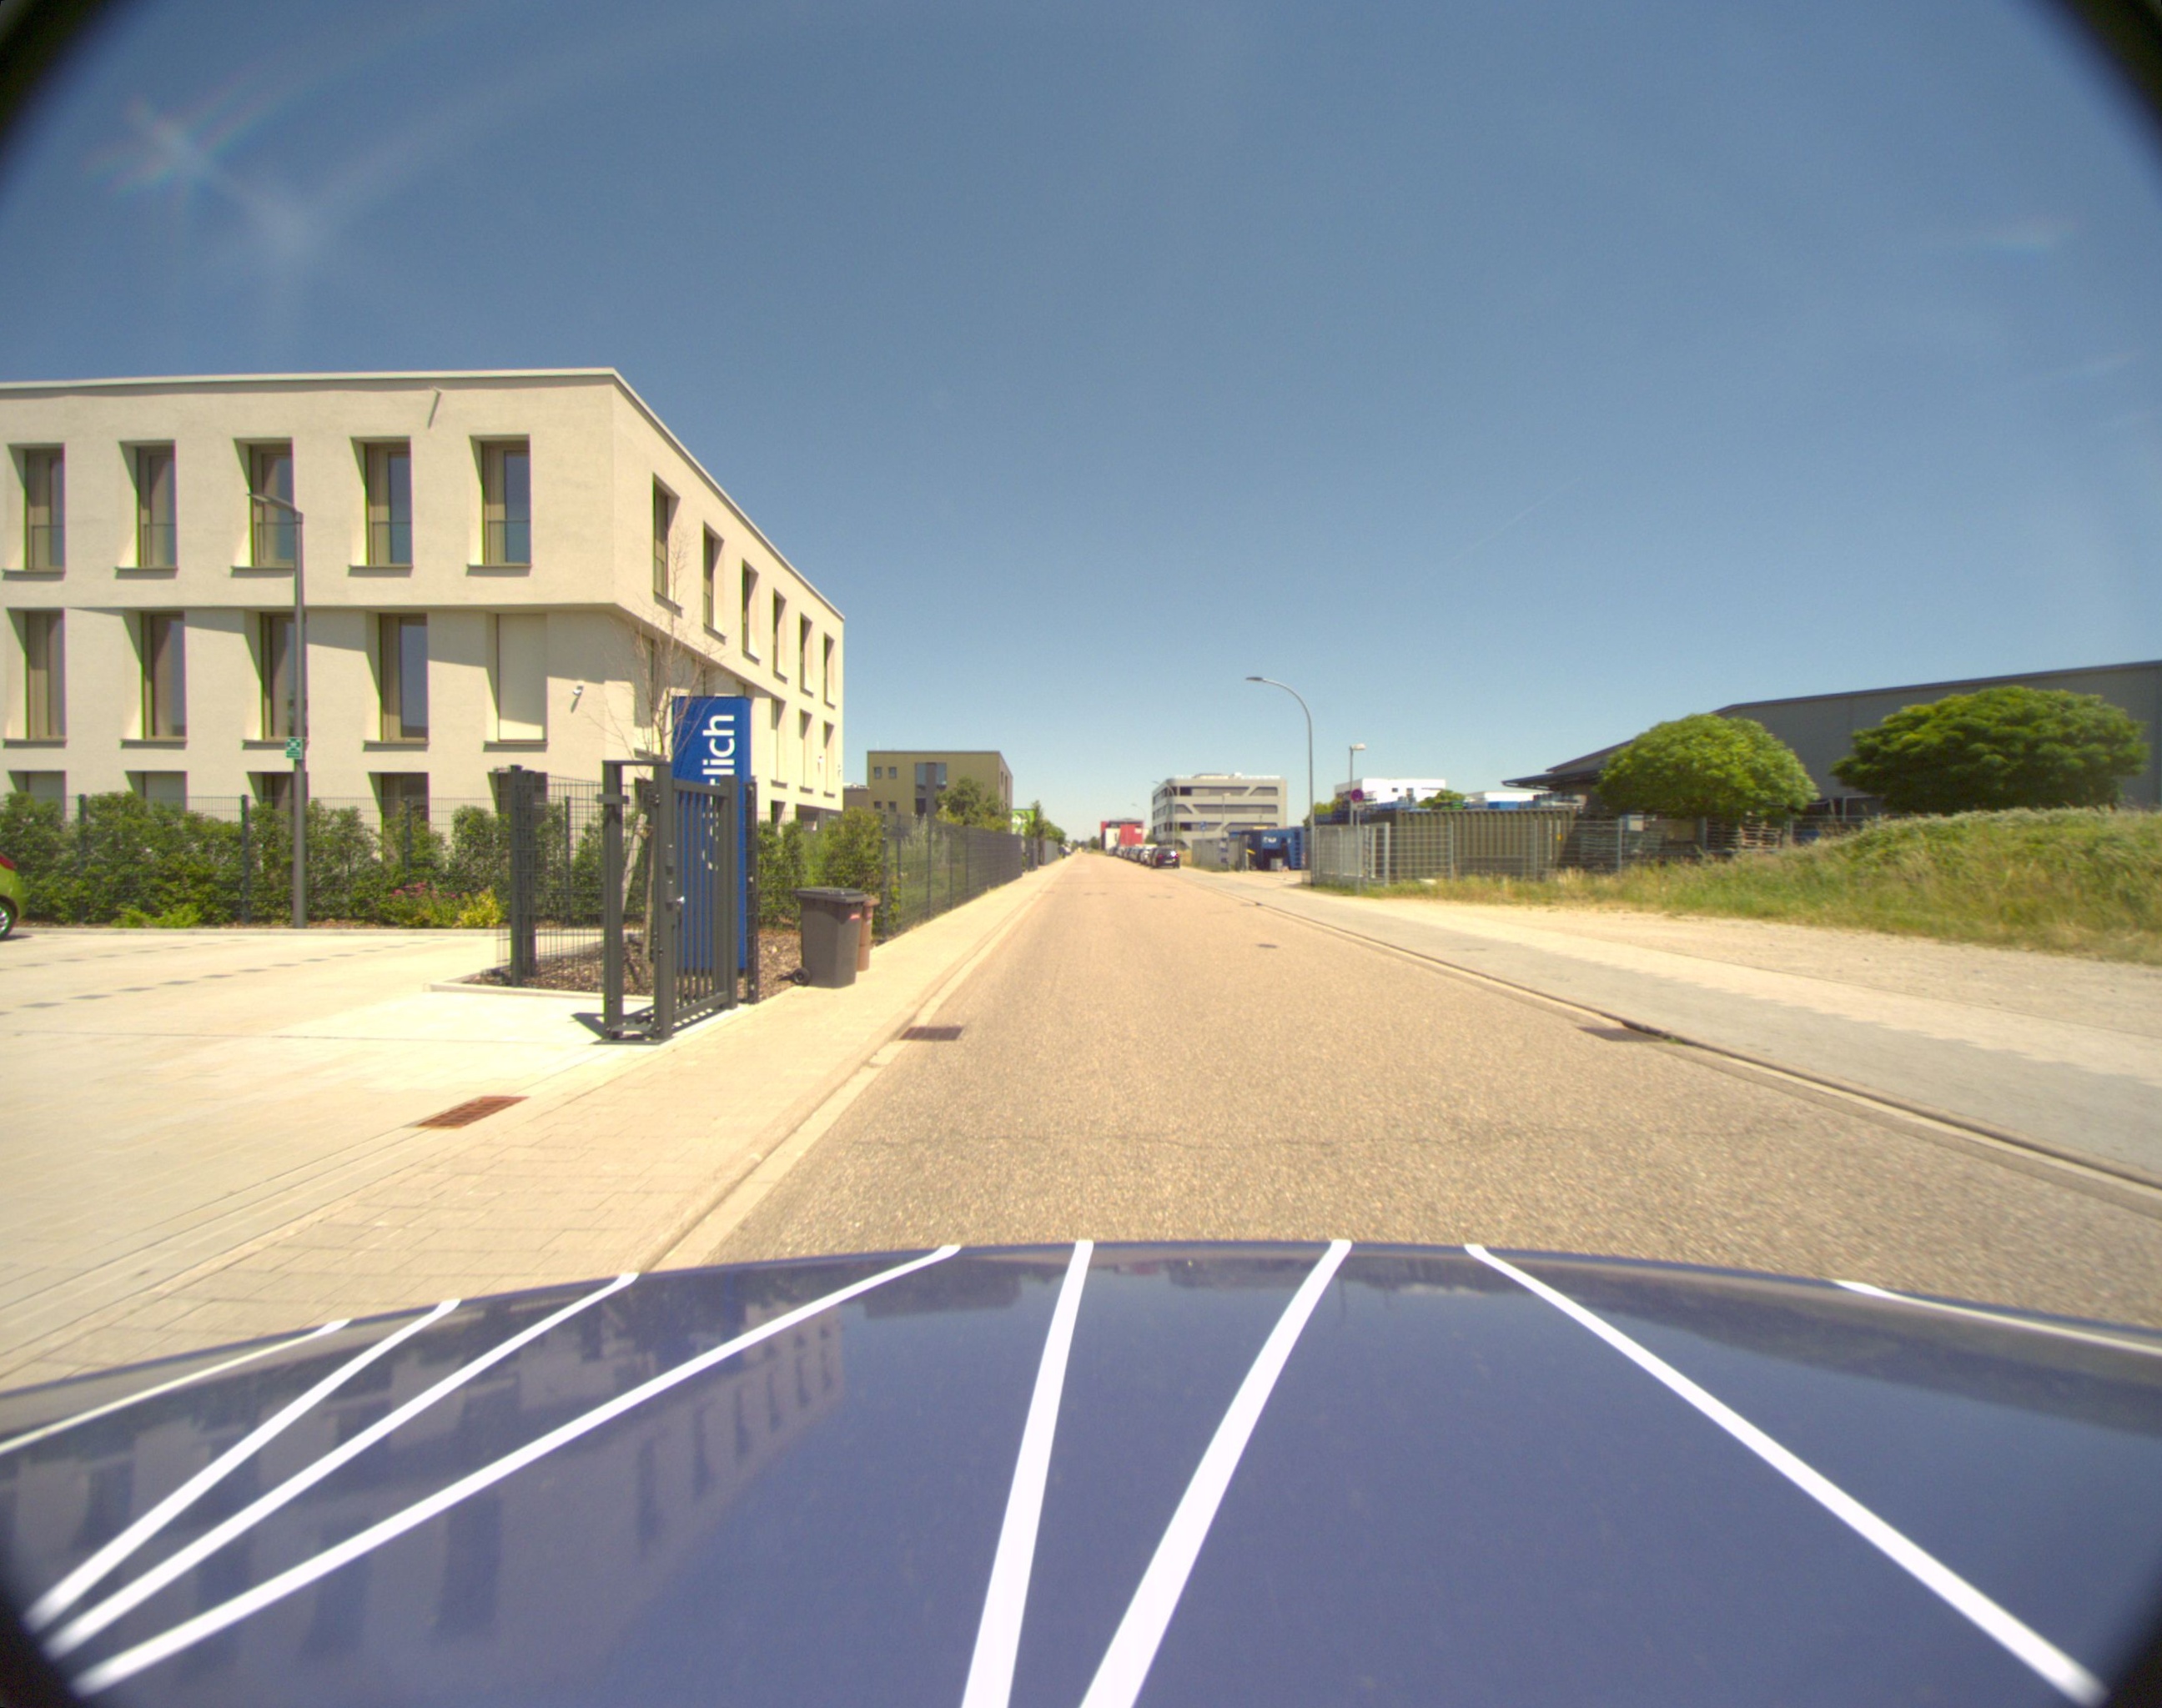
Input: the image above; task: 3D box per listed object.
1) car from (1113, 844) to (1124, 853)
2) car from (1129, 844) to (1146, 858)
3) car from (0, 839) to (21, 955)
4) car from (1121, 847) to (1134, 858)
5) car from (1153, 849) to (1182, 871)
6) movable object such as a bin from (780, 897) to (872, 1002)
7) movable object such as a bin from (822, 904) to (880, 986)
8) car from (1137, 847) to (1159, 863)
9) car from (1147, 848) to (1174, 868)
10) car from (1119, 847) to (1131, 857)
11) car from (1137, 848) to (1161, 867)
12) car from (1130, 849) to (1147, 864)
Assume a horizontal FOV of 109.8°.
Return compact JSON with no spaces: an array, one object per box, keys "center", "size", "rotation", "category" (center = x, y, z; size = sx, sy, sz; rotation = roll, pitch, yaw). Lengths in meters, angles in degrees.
[{"center":[6.836,-1.018,137.752],"size":[1.772,1.521,3.777],"rotation":[-2,1,1],"category":"car"},{"center":[6.796,-0.385,91.219],"size":[1.772,1.521,3.777],"rotation":[-2,1,1],"category":"car"},{"center":[-14.370,0.572,7.934],"size":[1.614,1.455,3.599],"rotation":[-1,1,-4],"category":"car"},{"center":[6.919,-0.302,113.181],"size":[1.772,1.521,3.777],"rotation":[-2,1,1],"category":"car"},{"center":[6.301,0.406,55.483],"size":[1.695,1.481,3.660],"rotation":[-2,1,1],"category":"car"},{"center":[-2.766,1.021,8.299],"size":[0.749,1.042,0.698],"rotation":[1,1,1],"category":"movable object such as a bin"},{"center":[-2.772,1.088,9.198],"size":[0.525,0.920,0.554],"rotation":[1,1,1],"category":"movable object such as a bin"},{"center":[6.620,0.103,75.289],"size":[1.772,1.462,3.777],"rotation":[-3,1,1],"category":"car"},{"center":[6.414,0.311,61.653],"size":[1.772,1.521,3.777],"rotation":[-2,1,1],"category":"car"},{"center":[6.799,-0.292,117.720],"size":[1.772,1.521,3.777],"rotation":[-2,1,1],"category":"car"},{"center":[5.948,0.264,66.874],"size":[1.772,1.521,3.777],"rotation":[-2,1,1],"category":"car"},{"center":[6.570,0.262,86.518],"size":[1.660,1.573,3.777],"rotation":[-2,1,1],"category":"car"}]
